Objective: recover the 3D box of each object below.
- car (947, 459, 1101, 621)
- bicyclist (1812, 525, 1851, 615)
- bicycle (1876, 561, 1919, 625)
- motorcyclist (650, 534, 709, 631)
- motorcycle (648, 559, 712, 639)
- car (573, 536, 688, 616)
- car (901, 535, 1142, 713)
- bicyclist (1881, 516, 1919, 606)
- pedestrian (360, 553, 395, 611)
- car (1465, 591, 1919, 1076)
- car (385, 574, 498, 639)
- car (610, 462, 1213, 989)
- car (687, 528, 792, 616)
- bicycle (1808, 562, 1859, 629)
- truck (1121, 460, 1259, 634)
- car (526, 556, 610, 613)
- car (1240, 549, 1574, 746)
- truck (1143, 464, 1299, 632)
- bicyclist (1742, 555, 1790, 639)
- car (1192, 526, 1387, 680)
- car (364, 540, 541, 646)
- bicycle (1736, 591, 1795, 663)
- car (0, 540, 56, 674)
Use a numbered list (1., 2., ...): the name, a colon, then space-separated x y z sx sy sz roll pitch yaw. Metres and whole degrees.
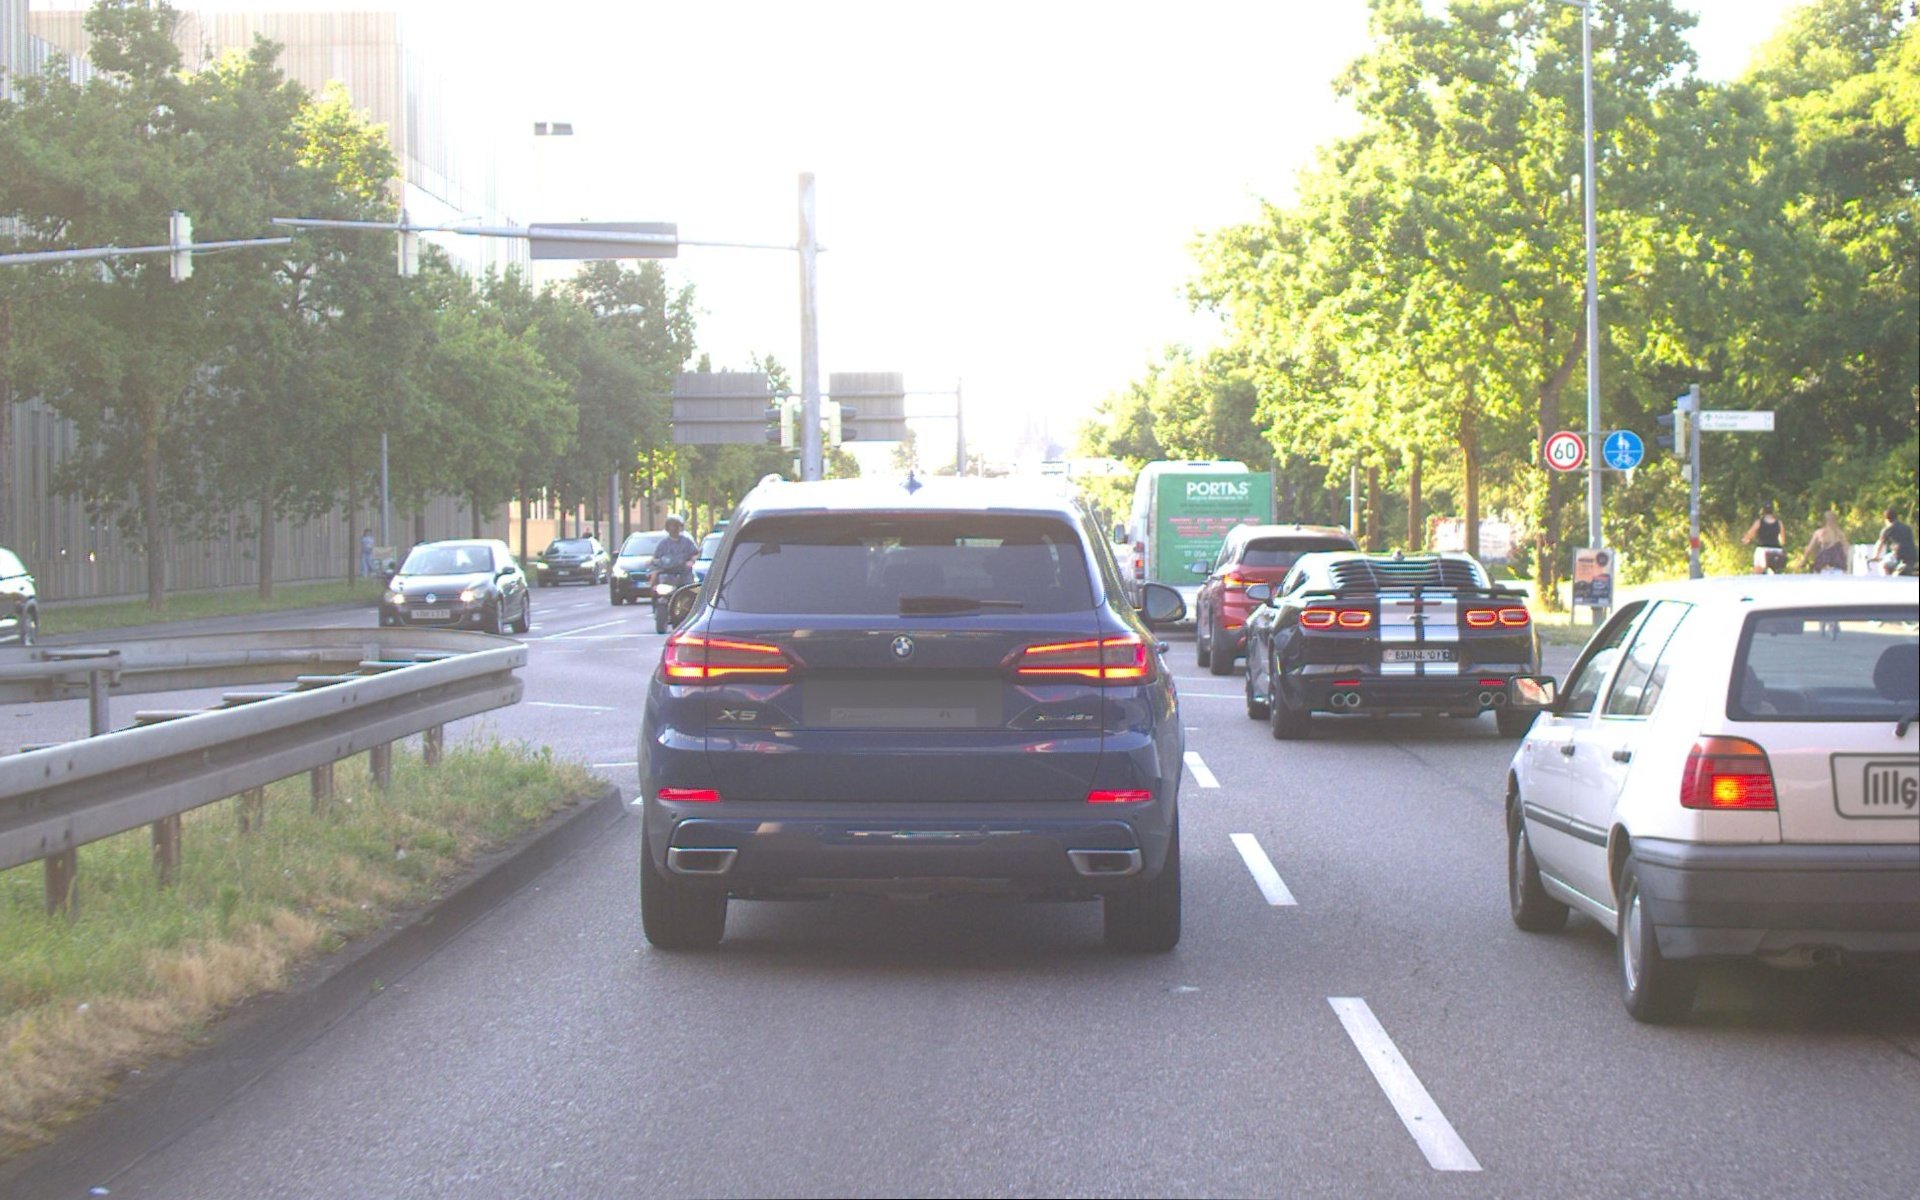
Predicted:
1. car: 1.017 -0.969 57.872 2.136 2.567 5.087 1 0 -4
2. bicyclist: 12.040 -0.418 47.496 0.427 1.229 0.460 -1 0 2
3. bicycle: 13.760 -0.102 50.320 0.437 0.911 1.026 1 0 1
4. motorcyclist: -4.083 -0.265 49.956 0.797 1.345 1.275 -2 2 -5
5. motorcycle: -4.084 -0.034 49.985 0.840 1.072 2.401 -3 1 -5
6. car: -7.210 -0.519 75.684 1.993 1.586 4.715 -4 0 0
7. car: 0.585 0.191 29.552 1.617 1.405 3.682 1 0 8
8. bicyclist: 13.772 -0.568 50.353 0.427 1.304 0.460 1 0 2
9. pedestrian: -20.570 -0.639 121.340 1.018 2.007 0.961 1 0 2
10. car: 2.873 0.690 12.144 1.578 1.408 4.062 1 0 0
11. car: -12.497 0.154 83.134 1.993 1.396 4.349 -4 0 0
12. car: -0.114 0.414 13.808 1.993 1.728 4.532 1 0 1
13. car: -3.976 -0.492 62.458 1.702 1.447 3.858 -4 0 -2
14. bicycle: 12.040 -0.064 47.421 0.437 0.911 1.026 -2 0 1
15. truck: 3.609 -0.830 54.552 1.996 2.659 4.000 0 1 1
16. car: -12.115 -0.472 106.518 1.993 1.586 4.715 -4 0 0
17. car: 3.184 0.315 25.231 1.993 1.290 4.000 1 0 1
18. truck: 3.728 -0.728 49.713 1.996 2.307 4.000 1 0 1
19. bicyclist: 12.804 -0.050 54.624 0.543 1.311 0.835 1 0 1
20. car: 3.530 0.027 37.432 1.796 1.553 4.000 1 0 1
21. car: -7.551 -0.111 51.527 1.993 1.470 4.080 2 0 0
22. bicycle: 12.789 0.418 54.590 0.564 1.108 1.621 1 0 1
23. car: -13.029 0.147 43.211 1.993 1.691 4.681 -4 0 0
